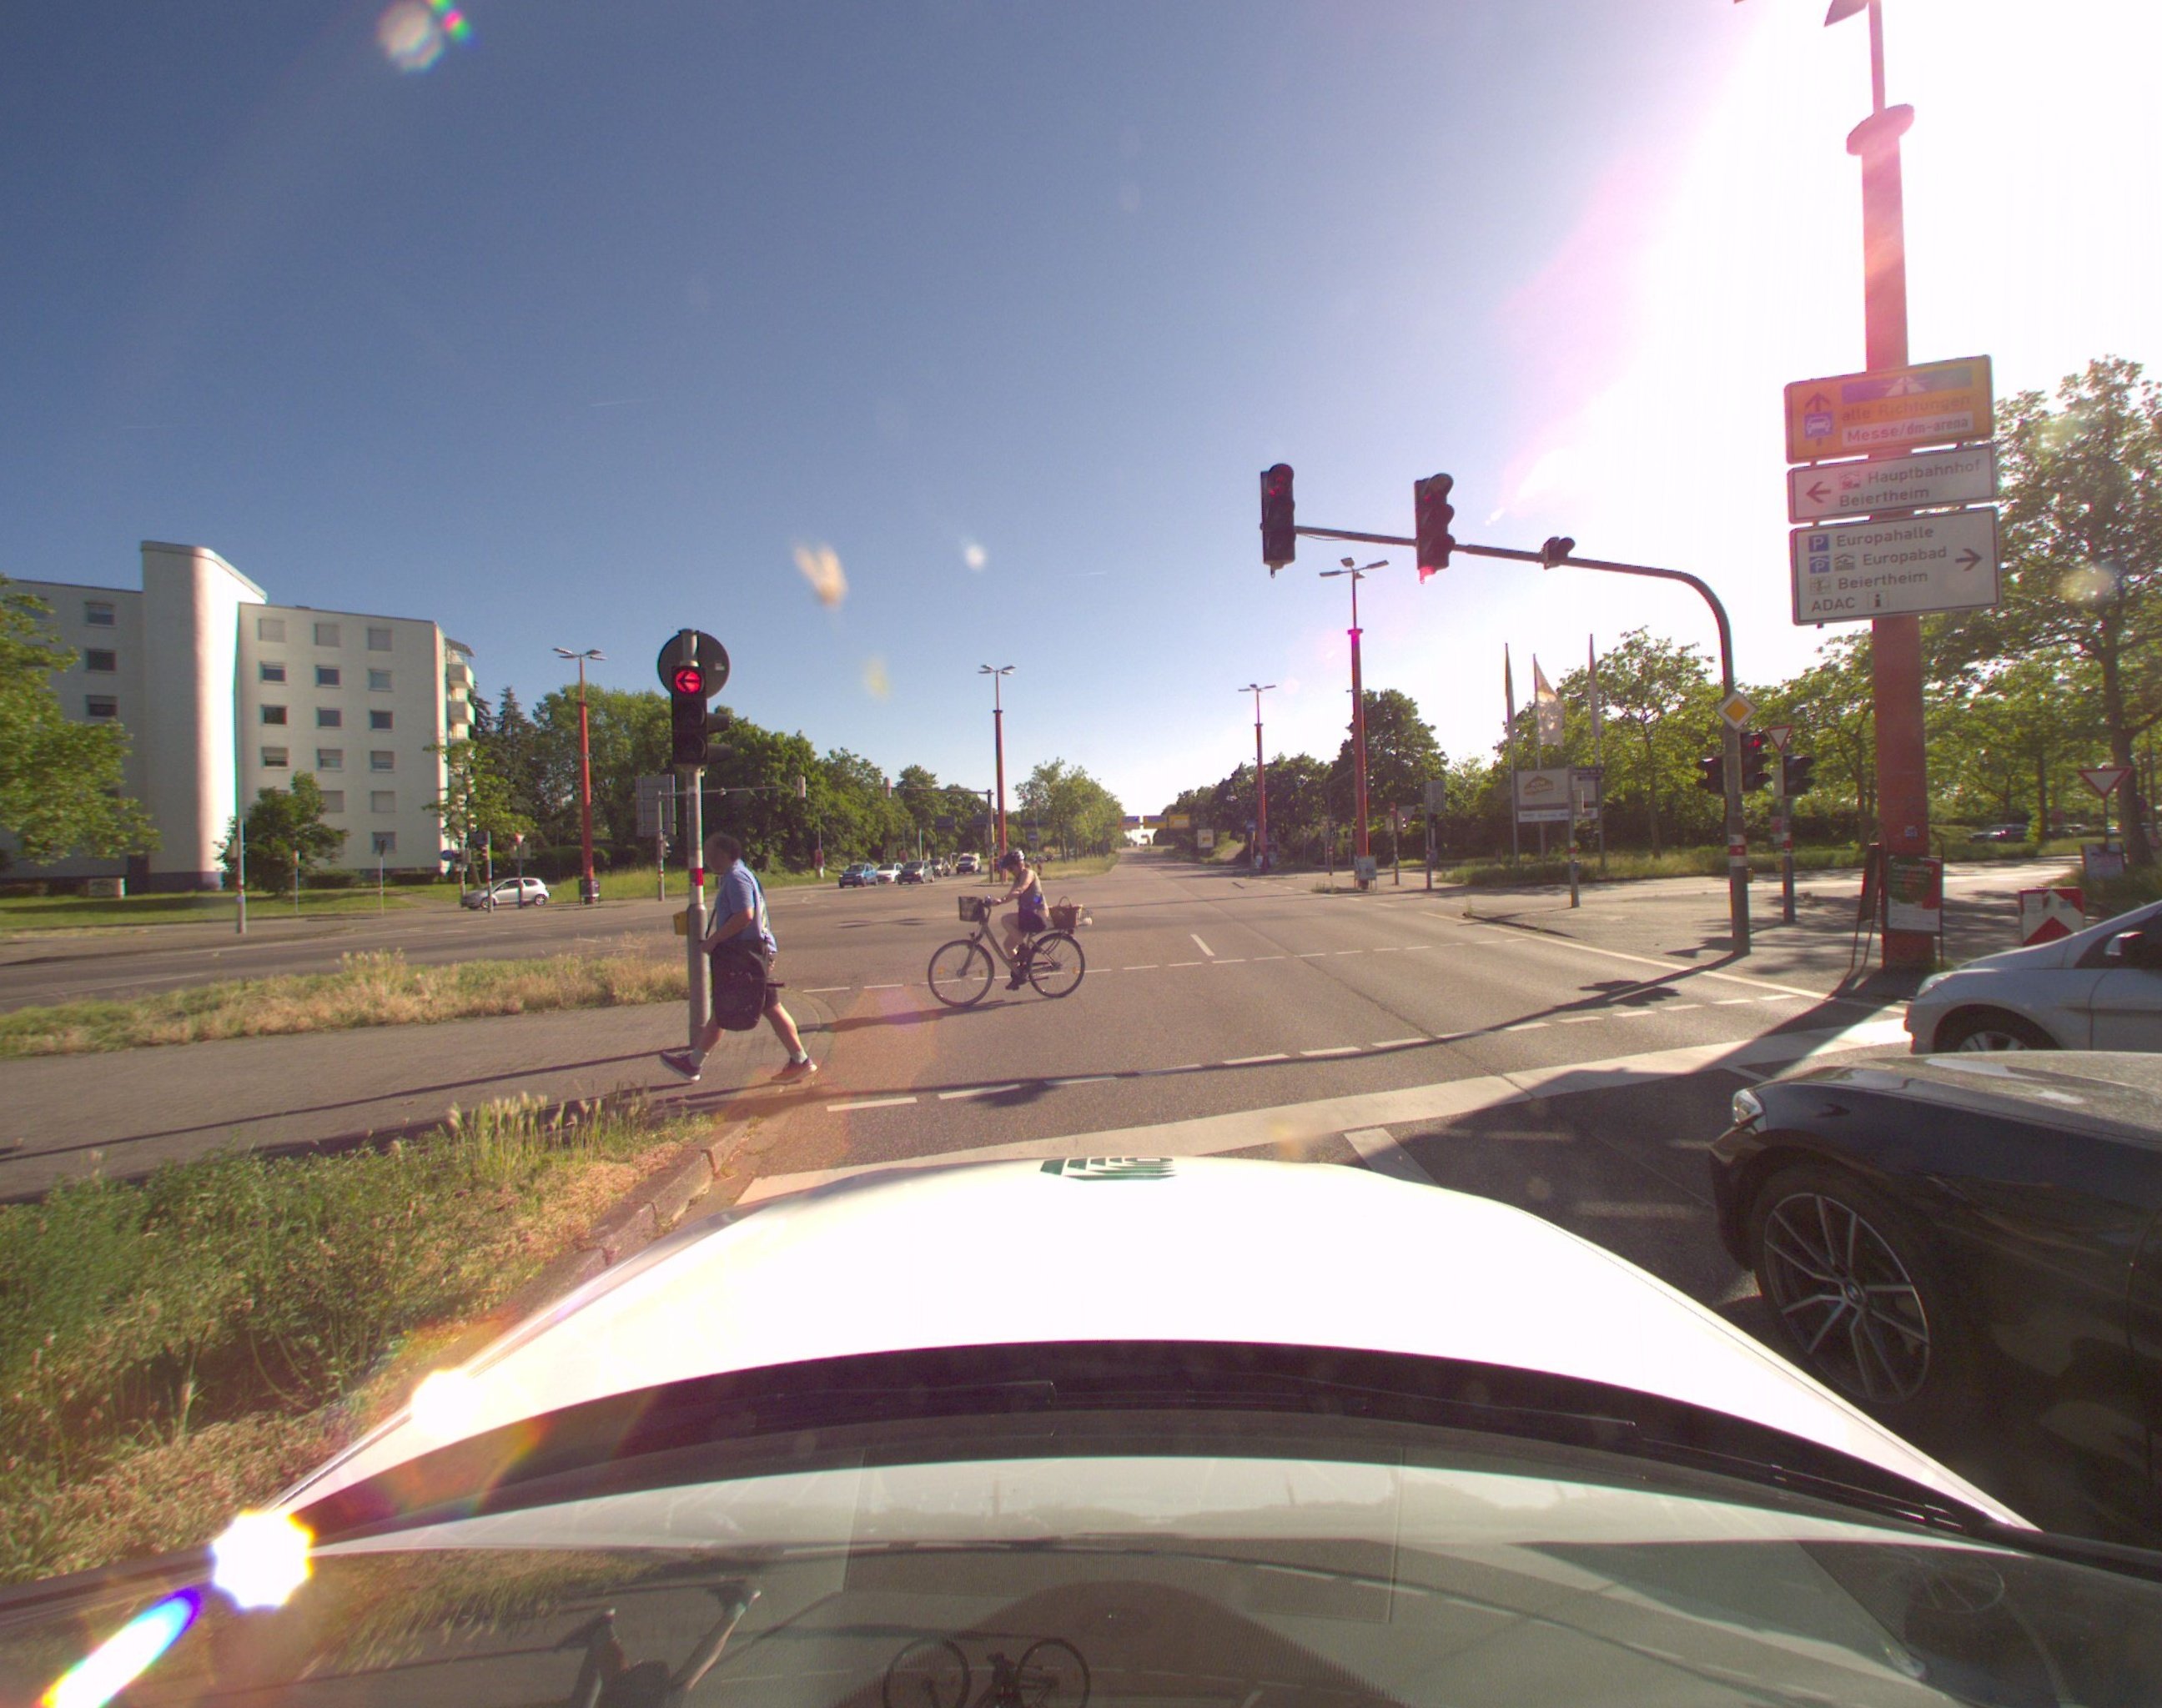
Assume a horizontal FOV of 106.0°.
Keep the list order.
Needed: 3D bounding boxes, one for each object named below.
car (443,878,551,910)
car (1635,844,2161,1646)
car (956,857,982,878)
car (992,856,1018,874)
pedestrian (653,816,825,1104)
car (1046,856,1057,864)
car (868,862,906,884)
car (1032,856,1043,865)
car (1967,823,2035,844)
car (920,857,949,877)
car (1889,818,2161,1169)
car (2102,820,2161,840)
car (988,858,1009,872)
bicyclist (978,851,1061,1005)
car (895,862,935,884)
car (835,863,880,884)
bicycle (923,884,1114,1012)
[{"bbox_3d":[-29.339,1.975,41.015,1.734,1.398,4.026,-2,0,32],"label":"car"},{"bbox_3d":[2.801,0.689,0.635,1.862,1.398,4.446,-2,0,3],"label":"car"},{"bbox_3d":[-11.715,1.351,85.335,1.886,2.026,5.224,-2,0,1],"label":"car"},{"bbox_3d":[-6.900,0.979,74.358,1.812,1.508,4.002,-2,0,2],"label":"car"},{"bbox_3d":[-2.357,0.660,5.722,0.988,1.794,0.948,-1,0,-20],"label":"pedestrian"},{"bbox_3d":[-5.921,1.191,165.155,1.812,1.629,4.002,-2,0,2],"label":"car"},{"bbox_3d":[-13.669,1.317,57.510,1.733,1.411,3.613,-2,0,1],"label":"car"},{"bbox_3d":[-8.133,1.230,153.321,1.792,1.640,3.999,-2,0,0],"label":"car"},{"bbox_3d":[72.983,-1.600,64.618,4.322,1.485,1.777,-2,0,-14],"label":"car"},{"bbox_3d":[-12.838,1.141,71.573,1.733,1.612,3.613,-2,0,1],"label":"car"},{"bbox_3d":[5.674,0.602,2.872,1.732,1.578,4.032,-2,0,3],"label":"car"},{"bbox_3d":[88.083,-2.002,68.289,3.991,1.467,1.674,-2,0,-17],"label":"car"},{"bbox_3d":[-8.509,1.092,84.551,1.733,1.362,3.613,-2,0,1],"label":"car"},{"bbox_3d":[-0.683,0.777,8.930,0.664,1.584,0.667,-2,0,-26],"label":"bicyclist"},{"bbox_3d":[-10.602,1.187,52.316,1.733,1.243,3.613,-2,0,1],"label":"car"},{"bbox_3d":[-14.086,1.210,51.429,1.733,1.243,3.613,-2,0,1],"label":"car"},{"bbox_3d":[-0.672,0.969,8.933,1.952,1.195,0.686,-2,0,-26],"label":"bicycle"}]
